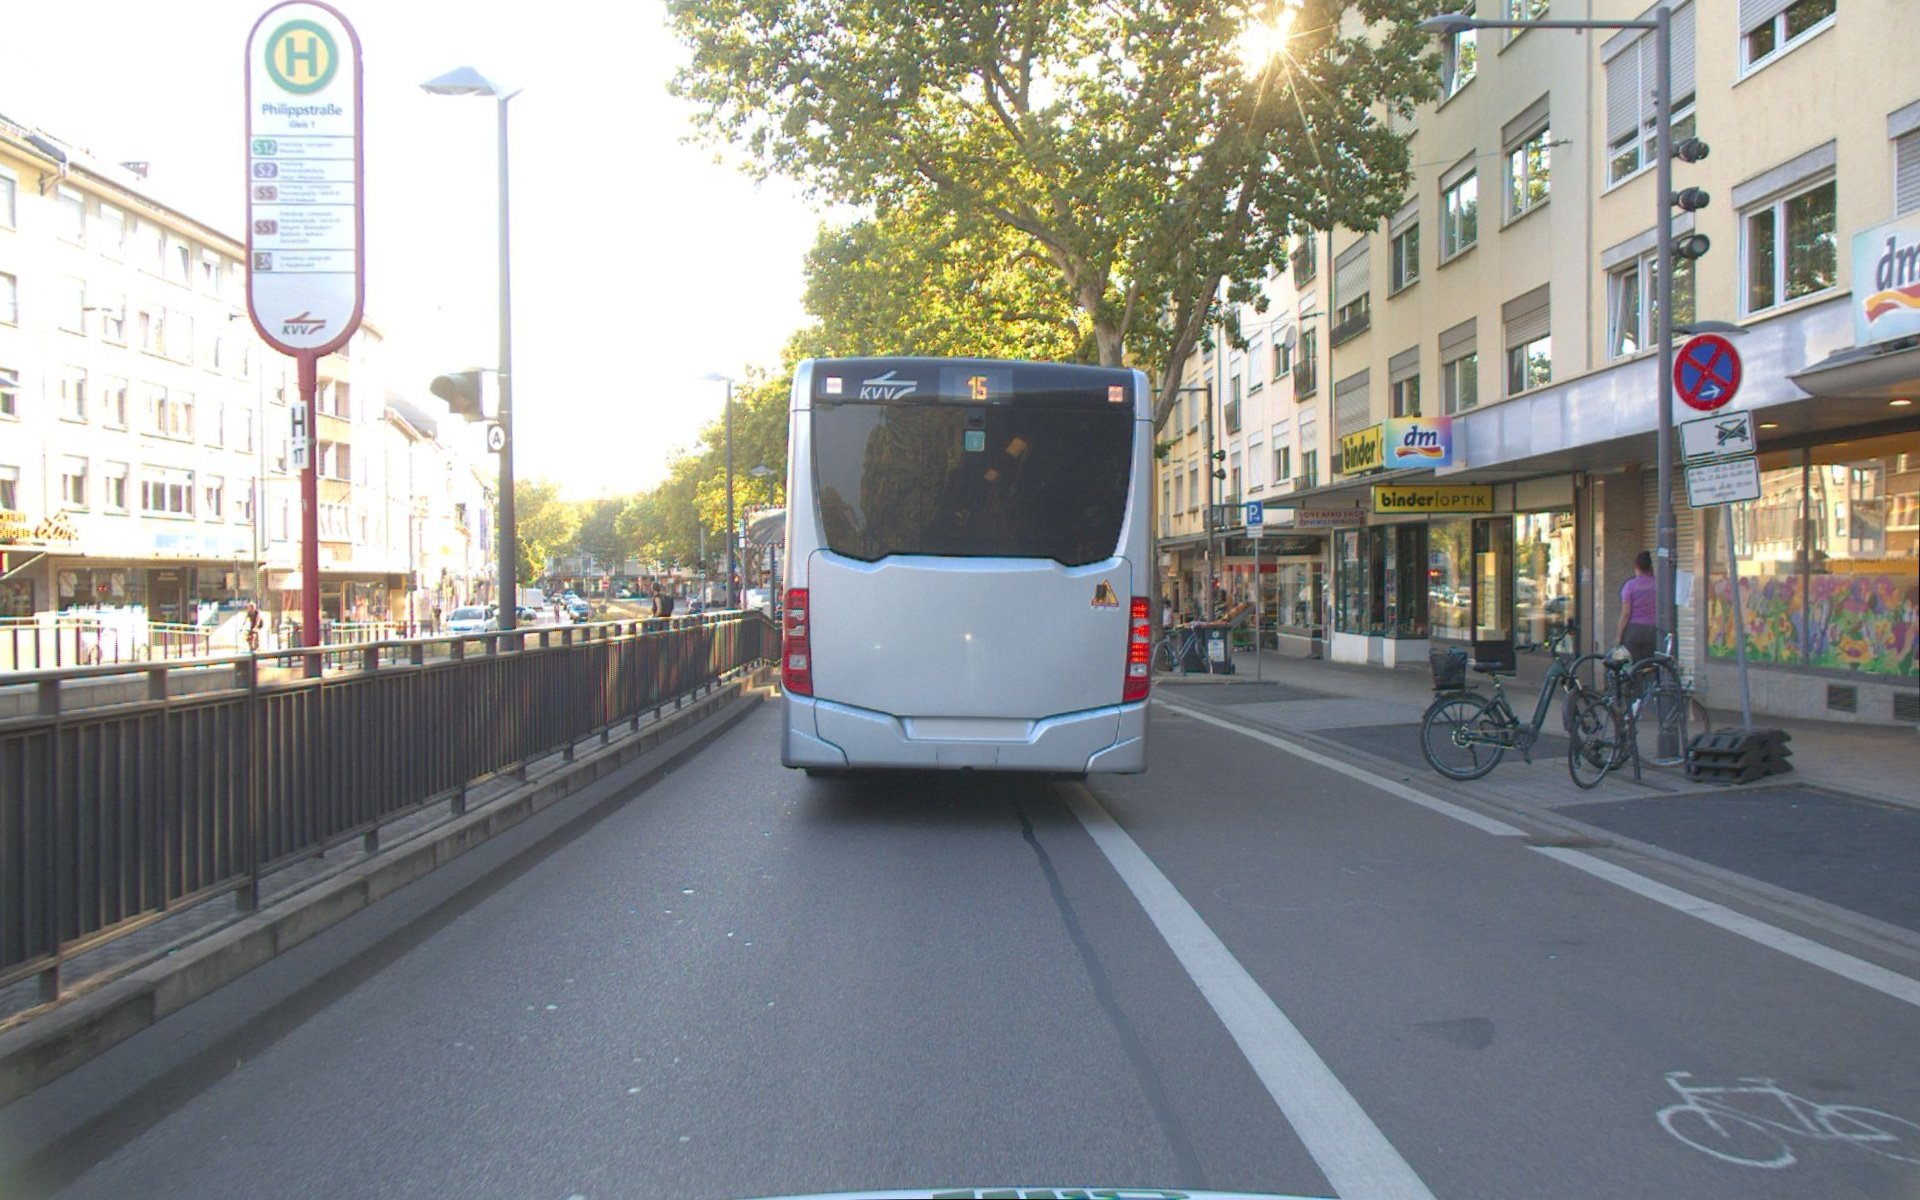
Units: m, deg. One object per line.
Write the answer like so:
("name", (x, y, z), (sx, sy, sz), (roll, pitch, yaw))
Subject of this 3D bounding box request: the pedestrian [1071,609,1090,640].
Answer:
("pedestrian", (4.814, 0.976, 66.028), (0.594, 1.246, 0.743), (0, 0, -8))

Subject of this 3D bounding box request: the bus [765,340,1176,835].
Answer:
("bus", (-0.141, -0.088, 14.131), (2.625, 3.137, 7.108), (0, 0, -4))

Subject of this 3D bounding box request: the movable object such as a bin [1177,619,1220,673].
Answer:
("movable object such as a bin", (5.045, 0.969, 35.012), (0.708, 1.090, 0.643), (-3, -1, -4))

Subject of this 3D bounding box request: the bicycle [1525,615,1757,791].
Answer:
("bicycle", (5.344, 0.781, 12.955), (1.768, 1.144, 0.658), (-5, 0, -29))

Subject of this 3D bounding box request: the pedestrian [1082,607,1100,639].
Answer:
("pedestrian", (5.373, 0.926, 67.747), (0.572, 1.297, 0.757), (1, -1, -8))

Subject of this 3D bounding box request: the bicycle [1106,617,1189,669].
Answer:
("bicycle", (4.421, 1.010, 39.058), (1.867, 1.124, 0.518), (-3, 0, 4))

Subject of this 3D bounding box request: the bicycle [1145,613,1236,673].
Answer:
("bicycle", (4.598, 0.864, 33.017), (1.683, 1.137, 0.745), (-1, -4, -2))

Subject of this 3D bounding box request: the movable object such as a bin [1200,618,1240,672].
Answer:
("movable object such as a bin", (5.451, 0.931, 34.617), (0.707, 1.091, 0.644), (-2, -1, 17))

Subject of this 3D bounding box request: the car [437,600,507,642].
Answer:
("car", (-21.190, 0.874, 71.949), (1.954, 1.747, 4.433), (-1, 0, -3))

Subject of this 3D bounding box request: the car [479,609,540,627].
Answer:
("car", (-36.978, 1.501, 135.847), (1.966, 1.437, 4.520), (-1, 0, 44))

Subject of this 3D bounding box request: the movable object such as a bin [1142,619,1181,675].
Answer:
("movable object such as a bin", (4.245, 0.981, 34.823), (0.707, 1.121, 0.644), (-4, -1, 5))

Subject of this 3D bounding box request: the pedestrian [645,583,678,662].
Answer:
("pedestrian", (-7.246, 0.536, 40.157), (0.727, 1.881, 0.589), (-1, 0, -7))

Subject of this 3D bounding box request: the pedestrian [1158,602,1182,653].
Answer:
("pedestrian", (6.747, 0.880, 53.204), (0.610, 1.614, 0.626), (-3, 0, -3))

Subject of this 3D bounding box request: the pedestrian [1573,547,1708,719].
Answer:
("pedestrian", (7.442, 0.360, 18.148), (0.948, 1.794, 1.133), (-2, -1, -1))

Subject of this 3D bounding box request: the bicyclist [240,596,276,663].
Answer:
("bicyclist", (-21.752, 0.893, 51.257), (0.748, 2.049, 0.911), (-1, 0, -3))

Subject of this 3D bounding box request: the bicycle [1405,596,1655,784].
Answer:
("bicycle", (4.712, 0.741, 13.783), (1.749, 1.334, 0.694), (-7, -1, 10))

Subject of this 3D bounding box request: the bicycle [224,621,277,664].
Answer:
("bicycle", (-21.752, 1.297, 50.730), (0.703, 1.252, 2.277), (-1, 0, -3))

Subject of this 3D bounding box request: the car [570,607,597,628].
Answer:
("car", (-29.555, 1.389, 129.836), (1.690, 1.535, 3.470), (-3, 0, -8))
